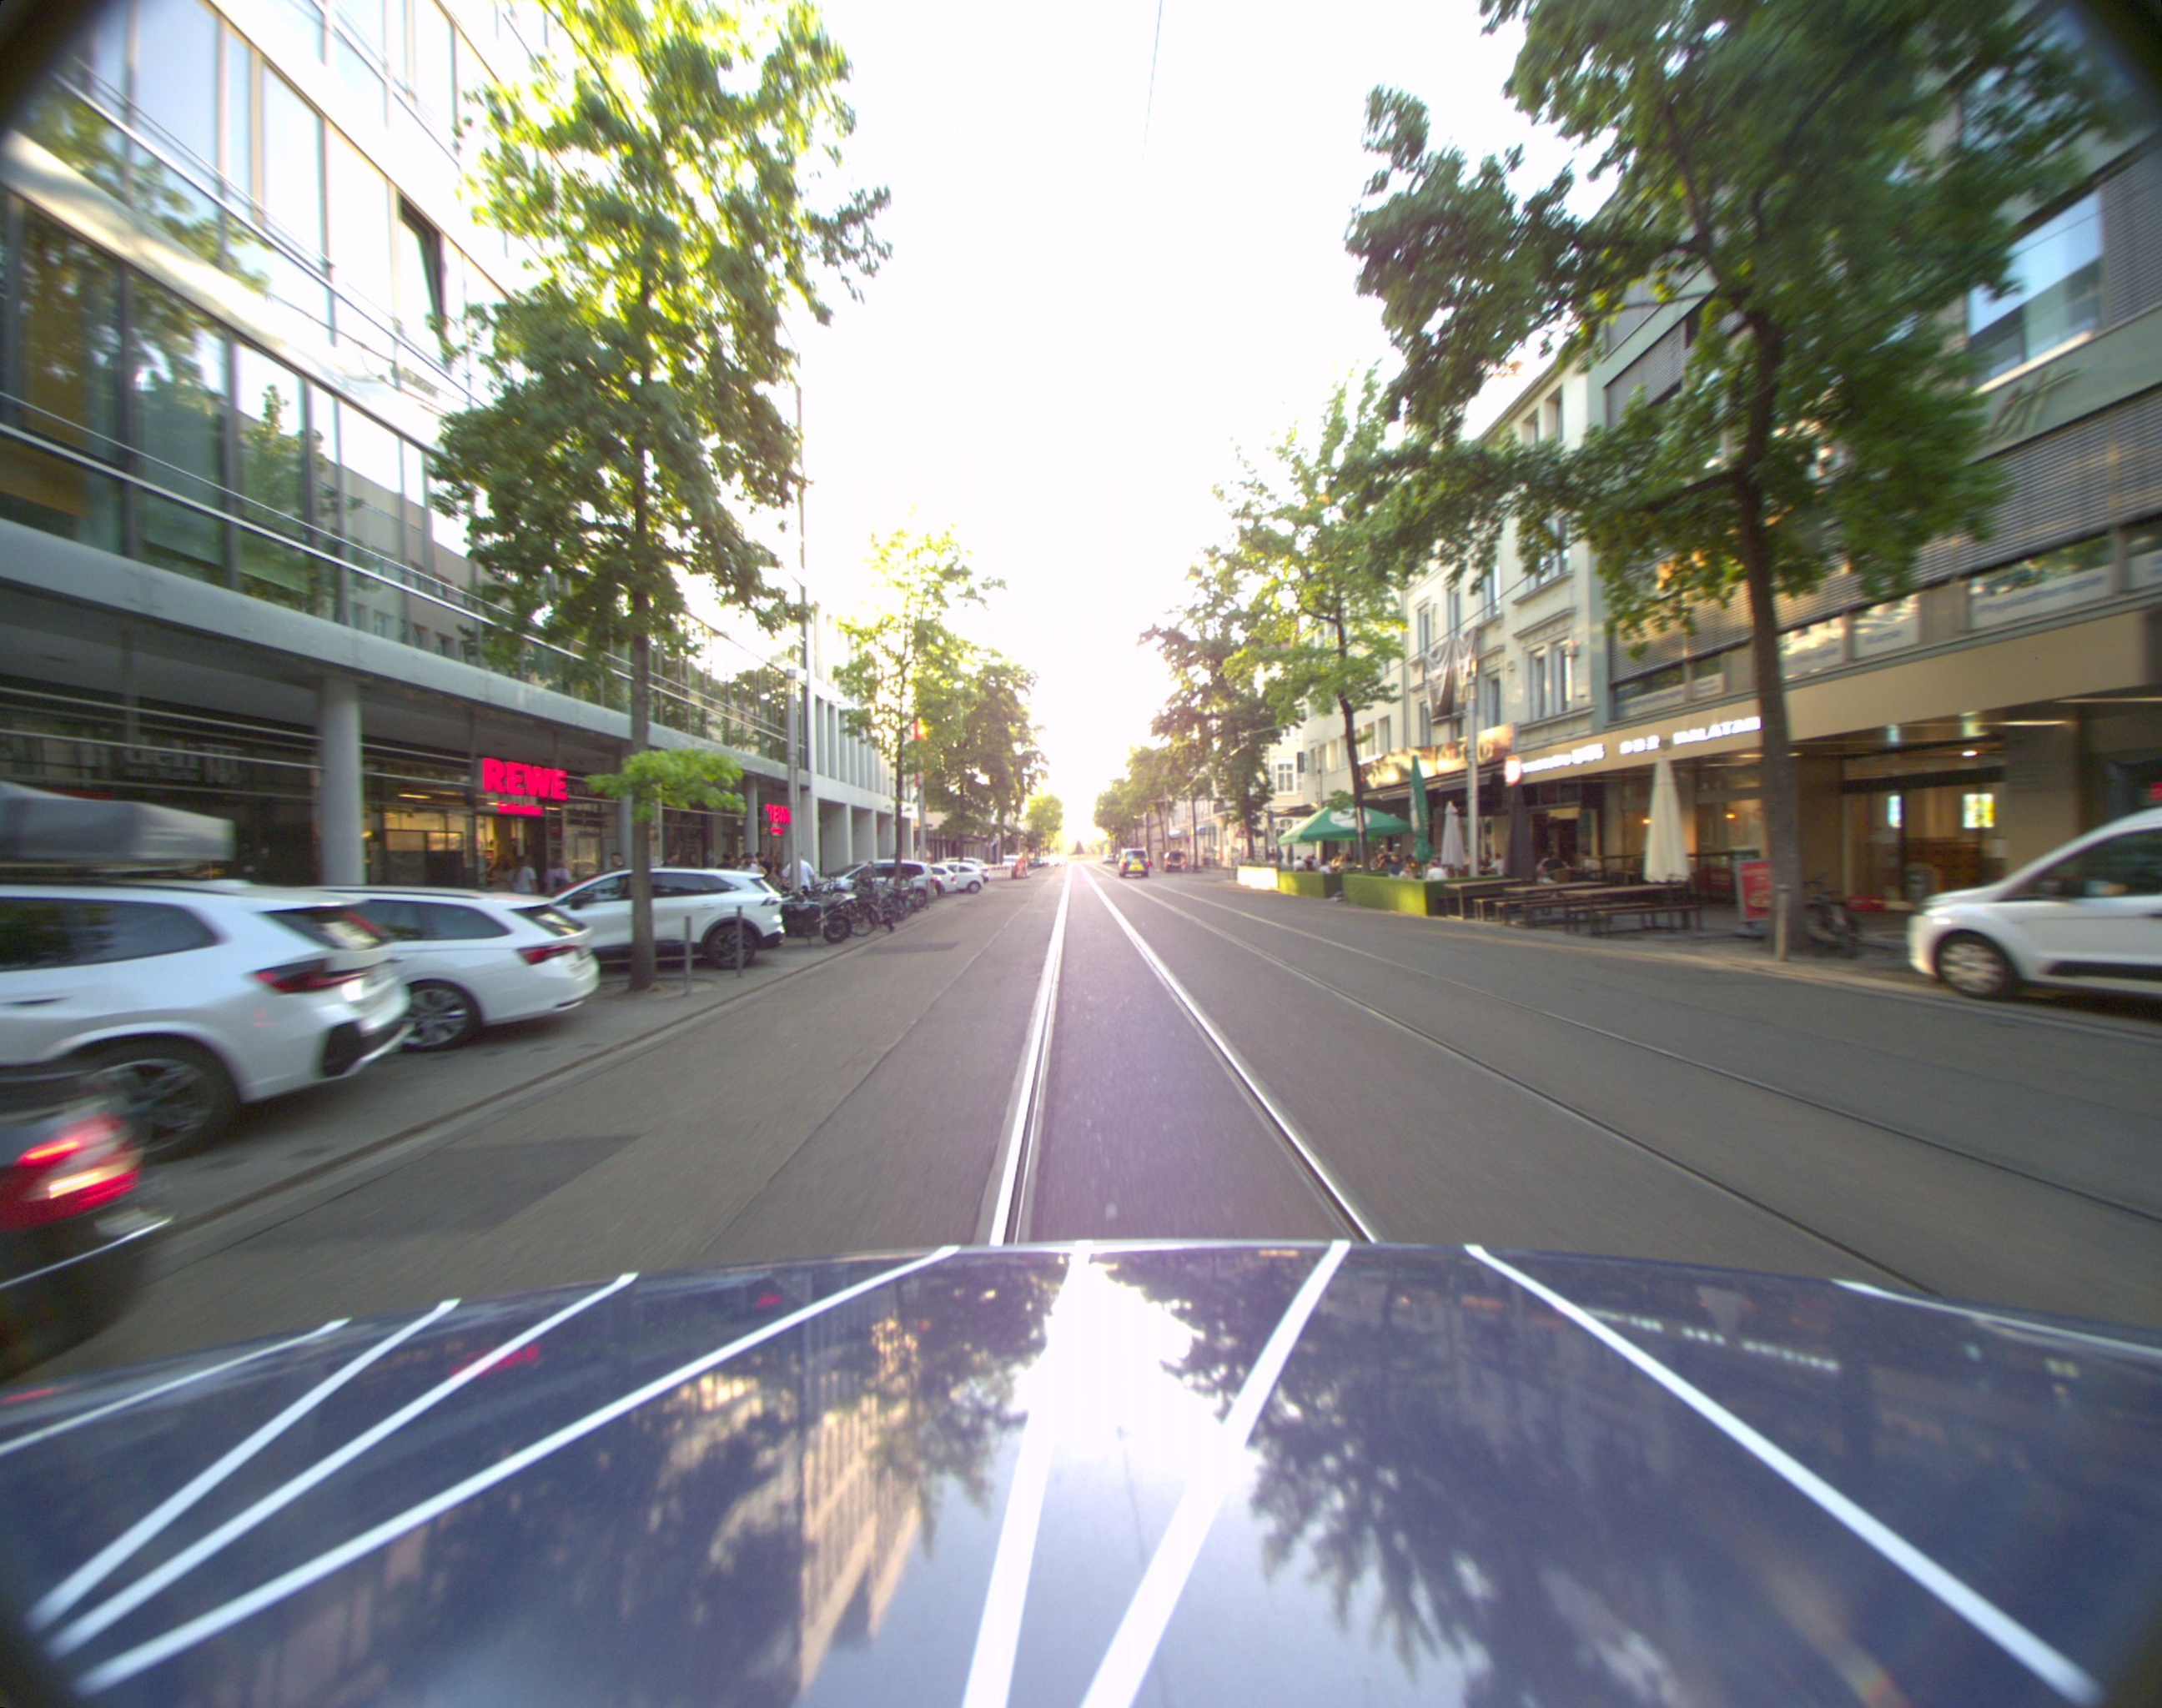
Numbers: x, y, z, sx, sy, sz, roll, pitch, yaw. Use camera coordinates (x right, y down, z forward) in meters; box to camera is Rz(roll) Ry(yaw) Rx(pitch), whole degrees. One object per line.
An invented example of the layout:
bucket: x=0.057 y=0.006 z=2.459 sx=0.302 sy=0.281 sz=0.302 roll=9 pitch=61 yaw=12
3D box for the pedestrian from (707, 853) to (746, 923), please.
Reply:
pedestrian: x=-8.712 y=0.829 z=18.690 sx=0.618 sy=1.681 sz=0.628 roll=0 pitch=1 yaw=0

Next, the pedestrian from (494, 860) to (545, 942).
pedestrian: x=-11.865 y=0.973 z=16.075 sx=0.558 sy=1.681 sz=0.628 roll=0 pitch=1 yaw=0

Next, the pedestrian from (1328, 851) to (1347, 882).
pedestrian: x=12.440 y=0.611 z=36.861 sx=0.650 sy=1.451 sz=0.650 roll=-1 pitch=1 yaw=-3

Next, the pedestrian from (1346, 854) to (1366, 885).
pedestrian: x=13.002 y=0.742 z=35.946 sx=0.650 sy=1.451 sz=0.650 roll=-1 pitch=1 yaw=-3

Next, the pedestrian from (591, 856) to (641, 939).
pedestrian: x=-9.685 y=0.897 z=15.855 sx=0.618 sy=1.681 sz=0.628 roll=0 pitch=1 yaw=0

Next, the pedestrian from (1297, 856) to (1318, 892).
pedestrian: x=8.894 y=0.766 z=29.866 sx=0.649 sy=1.378 sz=0.650 roll=-1 pitch=1 yaw=7

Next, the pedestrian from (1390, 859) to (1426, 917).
pedestrian: x=8.460 y=0.864 z=19.681 sx=0.649 sy=1.451 sz=0.650 roll=-1 pitch=1 yaw=1

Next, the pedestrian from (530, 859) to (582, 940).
pedestrian: x=-11.096 y=0.946 z=16.072 sx=0.618 sy=1.681 sz=0.628 roll=0 pitch=1 yaw=0

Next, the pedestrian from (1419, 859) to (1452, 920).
pedestrian: x=8.750 y=0.864 z=18.741 sx=0.648 sy=1.451 sz=0.651 roll=-1 pitch=1 yaw=30

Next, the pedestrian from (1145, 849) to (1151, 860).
pedestrian: x=8.566 y=0.041 z=97.728 sx=0.650 sy=1.451 sz=0.650 roll=-1 pitch=1 yaw=-1

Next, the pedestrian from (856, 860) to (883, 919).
pedestrian: x=-6.245 y=1.041 z=22.473 sx=0.618 sy=1.681 sz=0.628 roll=-1 pitch=1 yaw=-5

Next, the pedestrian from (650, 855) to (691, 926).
pedestrian: x=-9.947 y=0.877 z=18.409 sx=0.618 sy=1.681 sz=0.628 roll=0 pitch=1 yaw=0

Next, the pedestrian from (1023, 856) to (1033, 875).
pedestrian: x=-4.163 y=0.903 z=59.617 sx=0.650 sy=1.451 sz=0.649 roll=-2 pitch=1 yaw=-17

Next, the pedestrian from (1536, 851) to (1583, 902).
pedestrian: x=12.720 y=0.580 z=20.216 sx=0.701 sy=1.308 sz=0.786 roll=-1 pitch=1 yaw=-4

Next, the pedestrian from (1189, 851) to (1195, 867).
pedestrian: x=10.259 y=0.498 z=70.259 sx=0.490 sy=1.451 sz=0.543 roll=-1 pitch=1 yaw=-2

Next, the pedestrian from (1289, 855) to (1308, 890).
pedestrian: x=8.892 y=0.752 z=31.108 sx=0.649 sy=1.378 sz=0.650 roll=-1 pitch=1 yaw=7

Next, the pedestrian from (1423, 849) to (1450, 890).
pedestrian: x=12.837 y=0.545 z=27.433 sx=0.650 sy=1.451 sz=0.650 roll=-1 pitch=1 yaw=-3

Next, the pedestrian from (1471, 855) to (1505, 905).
pedestrian: x=12.206 y=0.765 z=22.789 sx=0.650 sy=1.451 sz=0.650 roll=-1 pitch=1 yaw=-2

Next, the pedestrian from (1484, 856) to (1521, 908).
pedestrian: x=12.116 y=0.780 z=21.833 sx=0.650 sy=1.451 sz=0.649 roll=-1 pitch=1 yaw=-9

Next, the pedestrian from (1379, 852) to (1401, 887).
pedestrian: x=12.942 y=0.629 z=31.823 sx=0.650 sy=1.451 sz=0.650 roll=-1 pitch=1 yaw=-3

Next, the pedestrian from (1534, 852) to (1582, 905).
pedestrian: x=12.101 y=0.613 z=19.290 sx=0.701 sy=1.308 sz=0.786 roll=-1 pitch=1 yaw=-4

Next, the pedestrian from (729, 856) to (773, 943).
pedestrian: x=-6.956 y=0.942 z=16.047 sx=0.618 sy=1.789 sz=0.628 roll=0 pitch=1 yaw=0

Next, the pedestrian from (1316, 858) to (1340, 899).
pedestrian: x=8.443 y=0.828 z=25.974 sx=0.649 sy=1.378 sz=0.650 roll=-1 pitch=1 yaw=7

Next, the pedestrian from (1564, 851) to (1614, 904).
pedestrian: x=12.857 y=0.586 z=19.256 sx=0.701 sy=1.308 sz=0.786 roll=-1 pitch=1 yaw=-4

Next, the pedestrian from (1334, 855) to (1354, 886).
pedestrian: x=12.425 y=0.763 z=35.927 sx=0.650 sy=1.451 sz=0.650 roll=-1 pitch=1 yaw=-3

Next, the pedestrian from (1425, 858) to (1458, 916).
pedestrian: x=9.256 y=0.837 z=19.527 sx=0.649 sy=1.451 sz=0.651 roll=-1 pitch=1 yaw=17

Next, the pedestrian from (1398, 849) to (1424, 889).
pedestrian: x=12.322 y=0.553 z=28.347 sx=0.650 sy=1.451 sz=0.650 roll=-1 pitch=1 yaw=-3

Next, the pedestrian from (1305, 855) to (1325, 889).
pedestrian: x=9.541 y=0.729 z=31.051 sx=0.649 sy=1.378 sz=0.650 roll=-1 pitch=1 yaw=7

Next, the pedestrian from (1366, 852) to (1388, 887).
pedestrian: x=12.437 y=0.646 z=31.946 sx=0.650 sy=1.451 sz=0.650 roll=-1 pitch=1 yaw=-3

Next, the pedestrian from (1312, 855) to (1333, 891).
pedestrian: x=9.487 y=0.745 z=29.839 sx=0.649 sy=1.378 sz=0.650 roll=-1 pitch=1 yaw=7

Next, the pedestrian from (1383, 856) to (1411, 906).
pedestrian: x=9.425 y=0.794 z=22.646 sx=0.649 sy=1.451 sz=0.651 roll=-1 pitch=1 yaw=13
